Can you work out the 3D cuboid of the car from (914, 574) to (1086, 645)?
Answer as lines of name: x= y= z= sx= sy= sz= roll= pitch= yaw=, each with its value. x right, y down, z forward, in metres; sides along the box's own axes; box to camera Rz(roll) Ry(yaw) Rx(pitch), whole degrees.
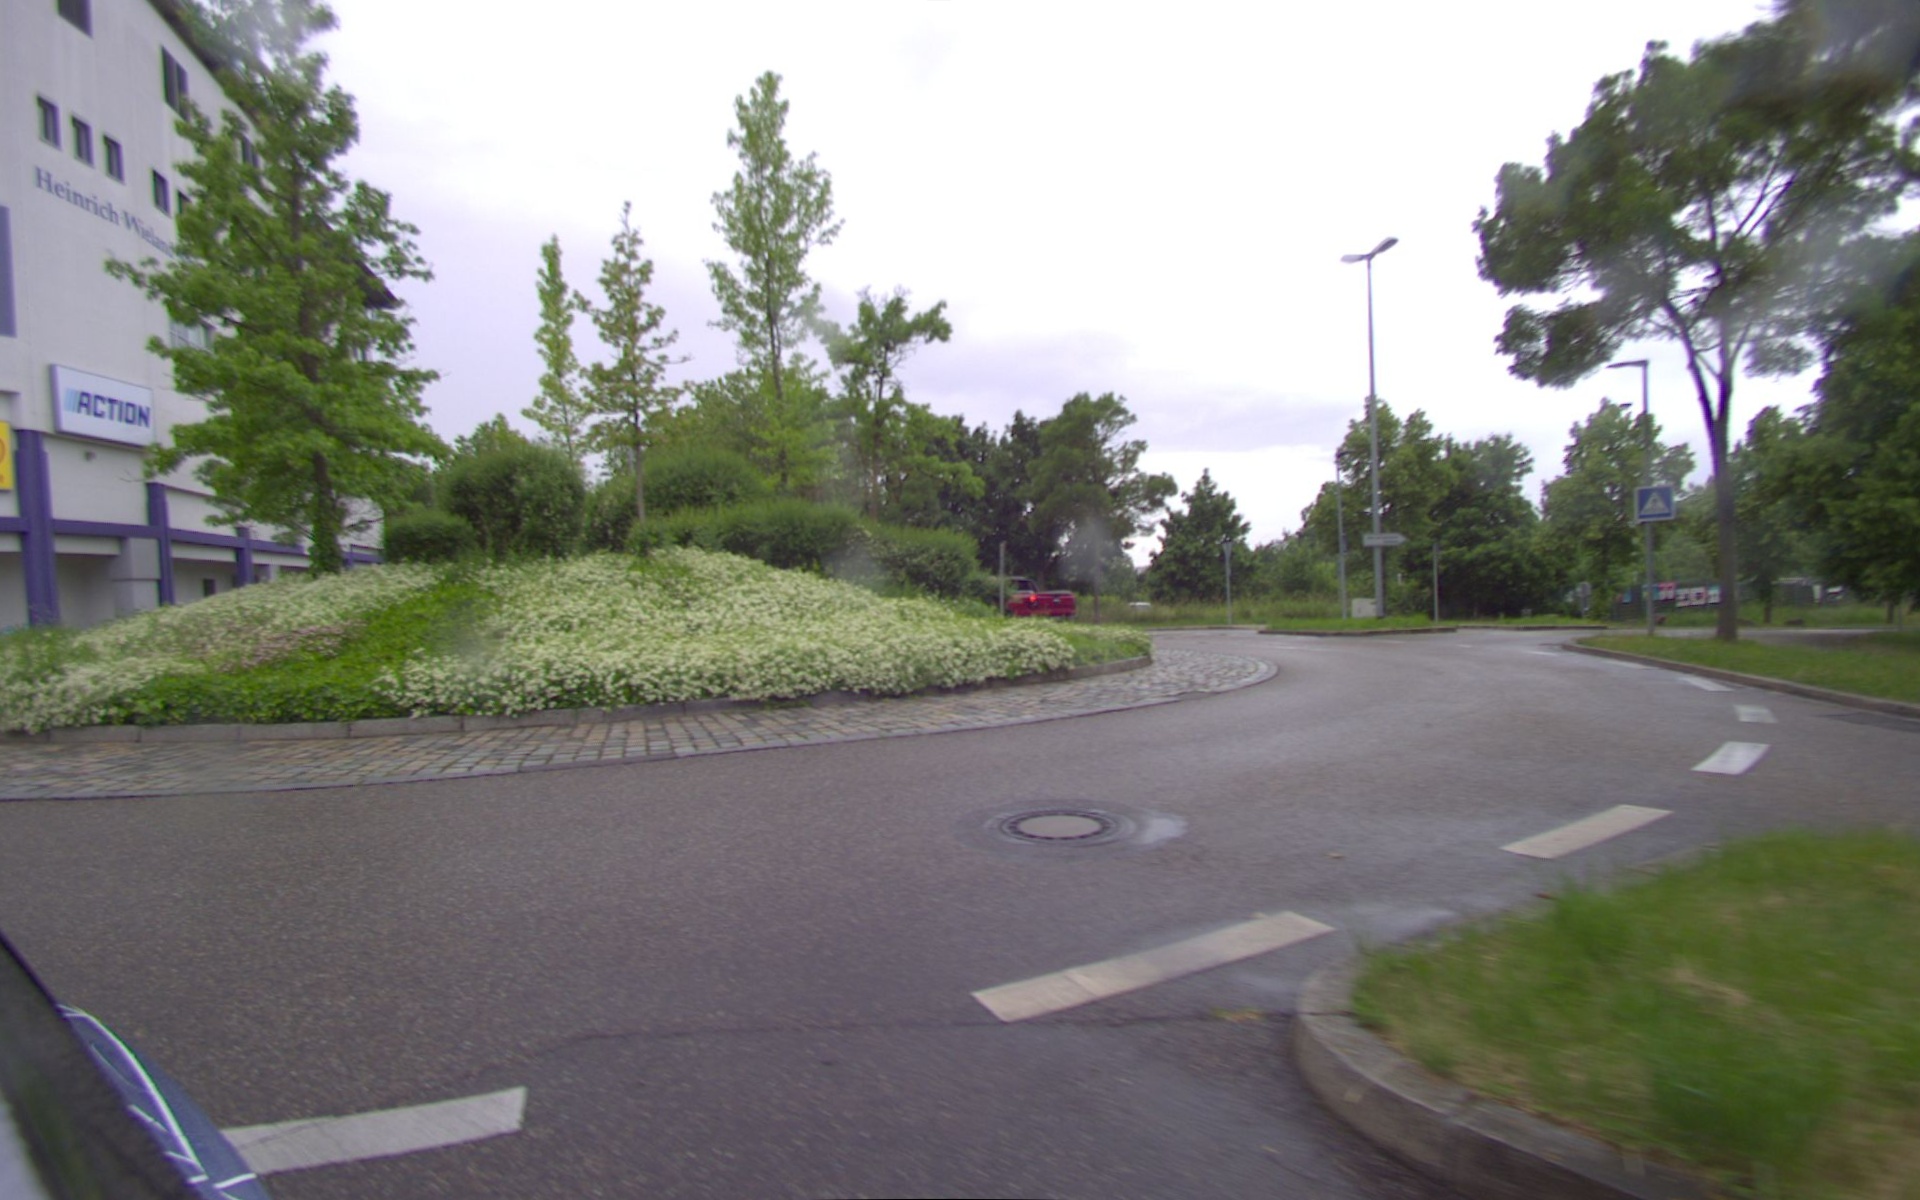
car: x=1.036 y=0.298 z=28.999 sx=1.969 sy=1.808 sz=5.119 roll=-3 pitch=1 yaw=-39
